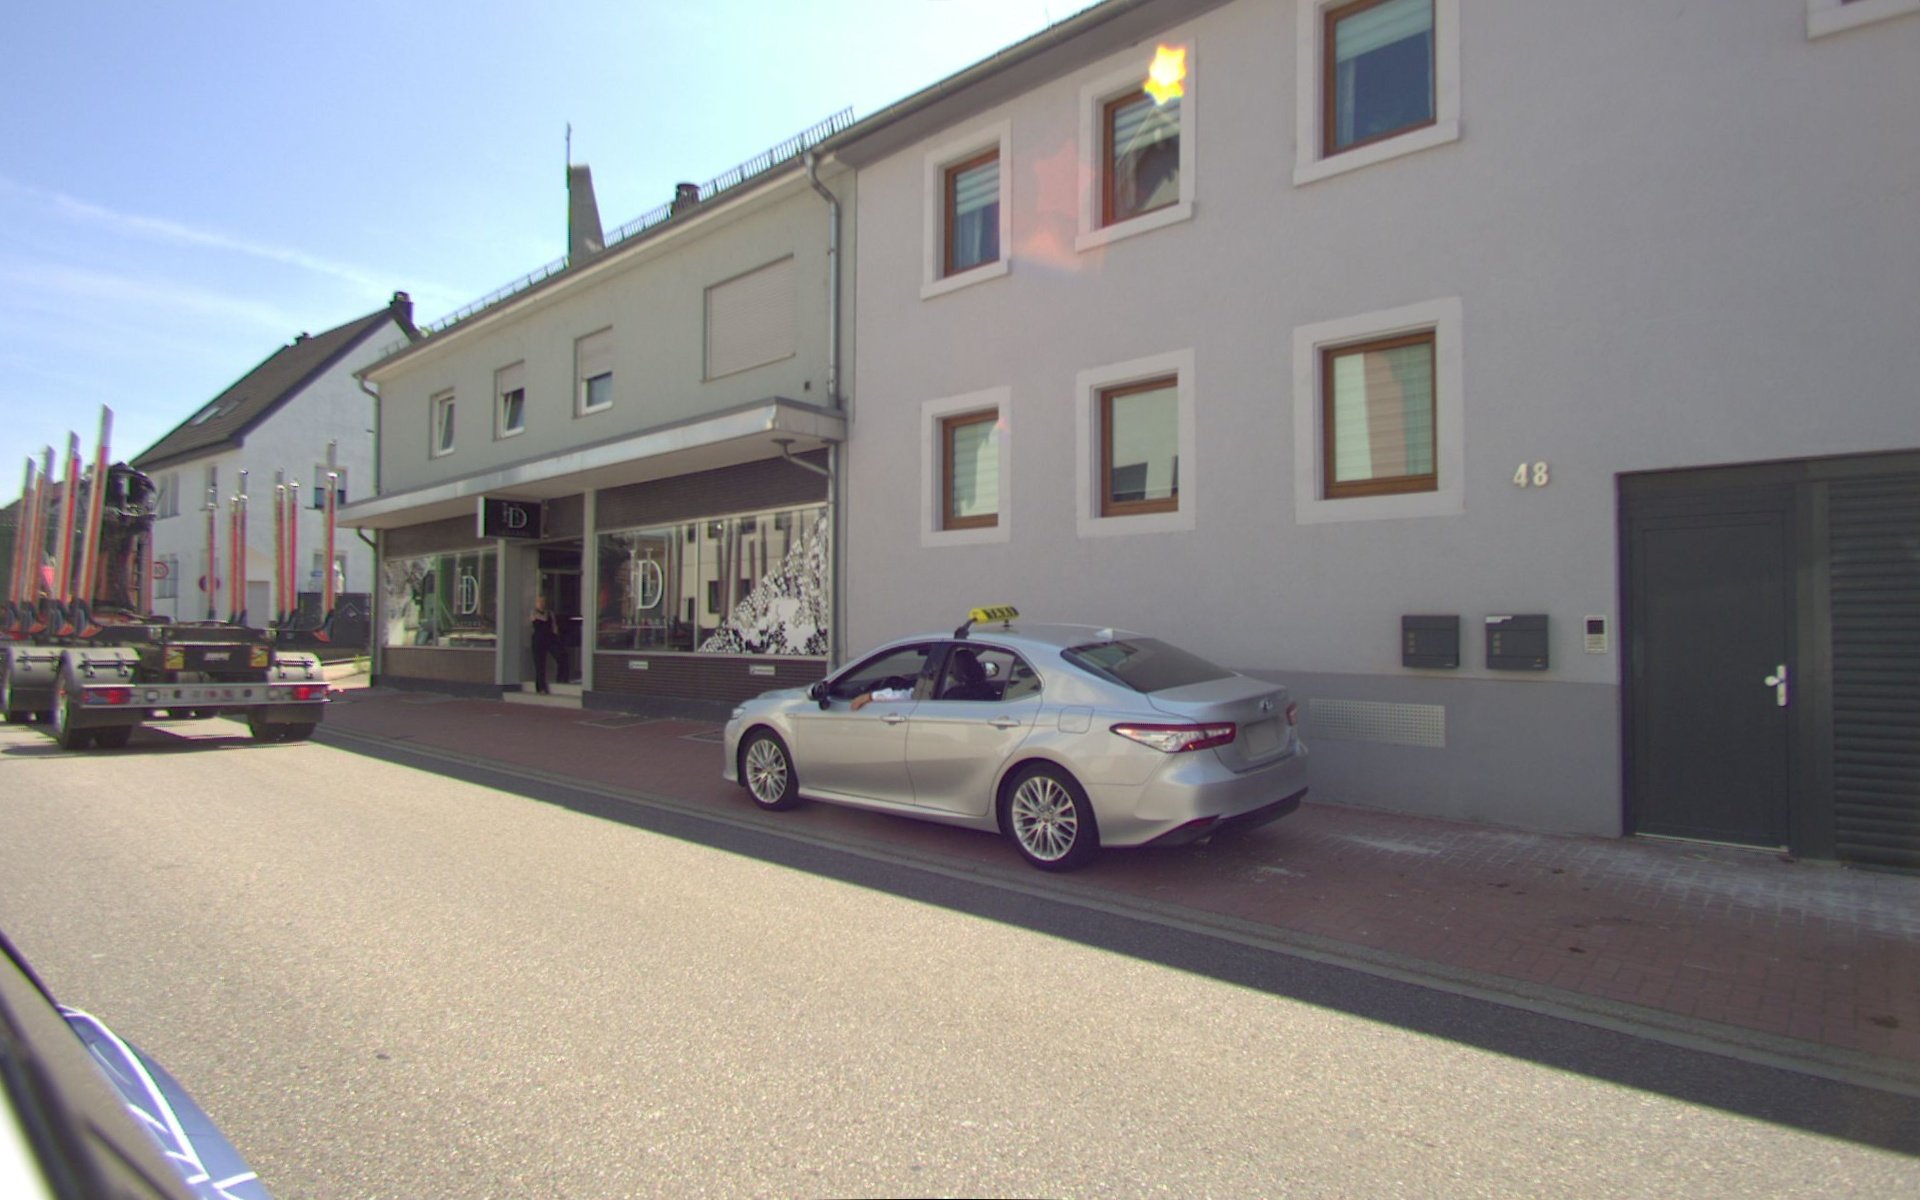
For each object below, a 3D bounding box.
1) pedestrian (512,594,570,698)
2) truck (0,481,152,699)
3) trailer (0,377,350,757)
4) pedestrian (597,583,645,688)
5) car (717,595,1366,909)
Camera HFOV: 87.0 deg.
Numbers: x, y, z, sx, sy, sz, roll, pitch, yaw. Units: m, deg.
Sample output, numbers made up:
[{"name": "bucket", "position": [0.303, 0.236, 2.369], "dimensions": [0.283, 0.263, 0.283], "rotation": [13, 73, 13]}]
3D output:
[{"name": "pedestrian", "position": [-7.051, 0.760, 17.027], "dimensions": [0.771, 1.697, 0.618], "rotation": [-1, -1, 41]}, {"name": "truck", "position": [-19.705, -0.100, 21.597], "dimensions": [6.850, 4.016, 2.590], "rotation": [-1, -4, 42]}, {"name": "trailer", "position": [-14.391, -0.193, 16.847], "dimensions": [15.693, 4.009, 2.602], "rotation": [-1, -4, 42]}, {"name": "pedestrian", "position": [-5.693, 0.584, 17.028], "dimensions": [0.655, 1.726, 0.632], "rotation": [0, 0, -7]}, {"name": "car", "position": [0.311, 0.807, 7.369], "dimensions": [4.564, 1.569, 1.789], "rotation": [-1, 0, 42]}]
